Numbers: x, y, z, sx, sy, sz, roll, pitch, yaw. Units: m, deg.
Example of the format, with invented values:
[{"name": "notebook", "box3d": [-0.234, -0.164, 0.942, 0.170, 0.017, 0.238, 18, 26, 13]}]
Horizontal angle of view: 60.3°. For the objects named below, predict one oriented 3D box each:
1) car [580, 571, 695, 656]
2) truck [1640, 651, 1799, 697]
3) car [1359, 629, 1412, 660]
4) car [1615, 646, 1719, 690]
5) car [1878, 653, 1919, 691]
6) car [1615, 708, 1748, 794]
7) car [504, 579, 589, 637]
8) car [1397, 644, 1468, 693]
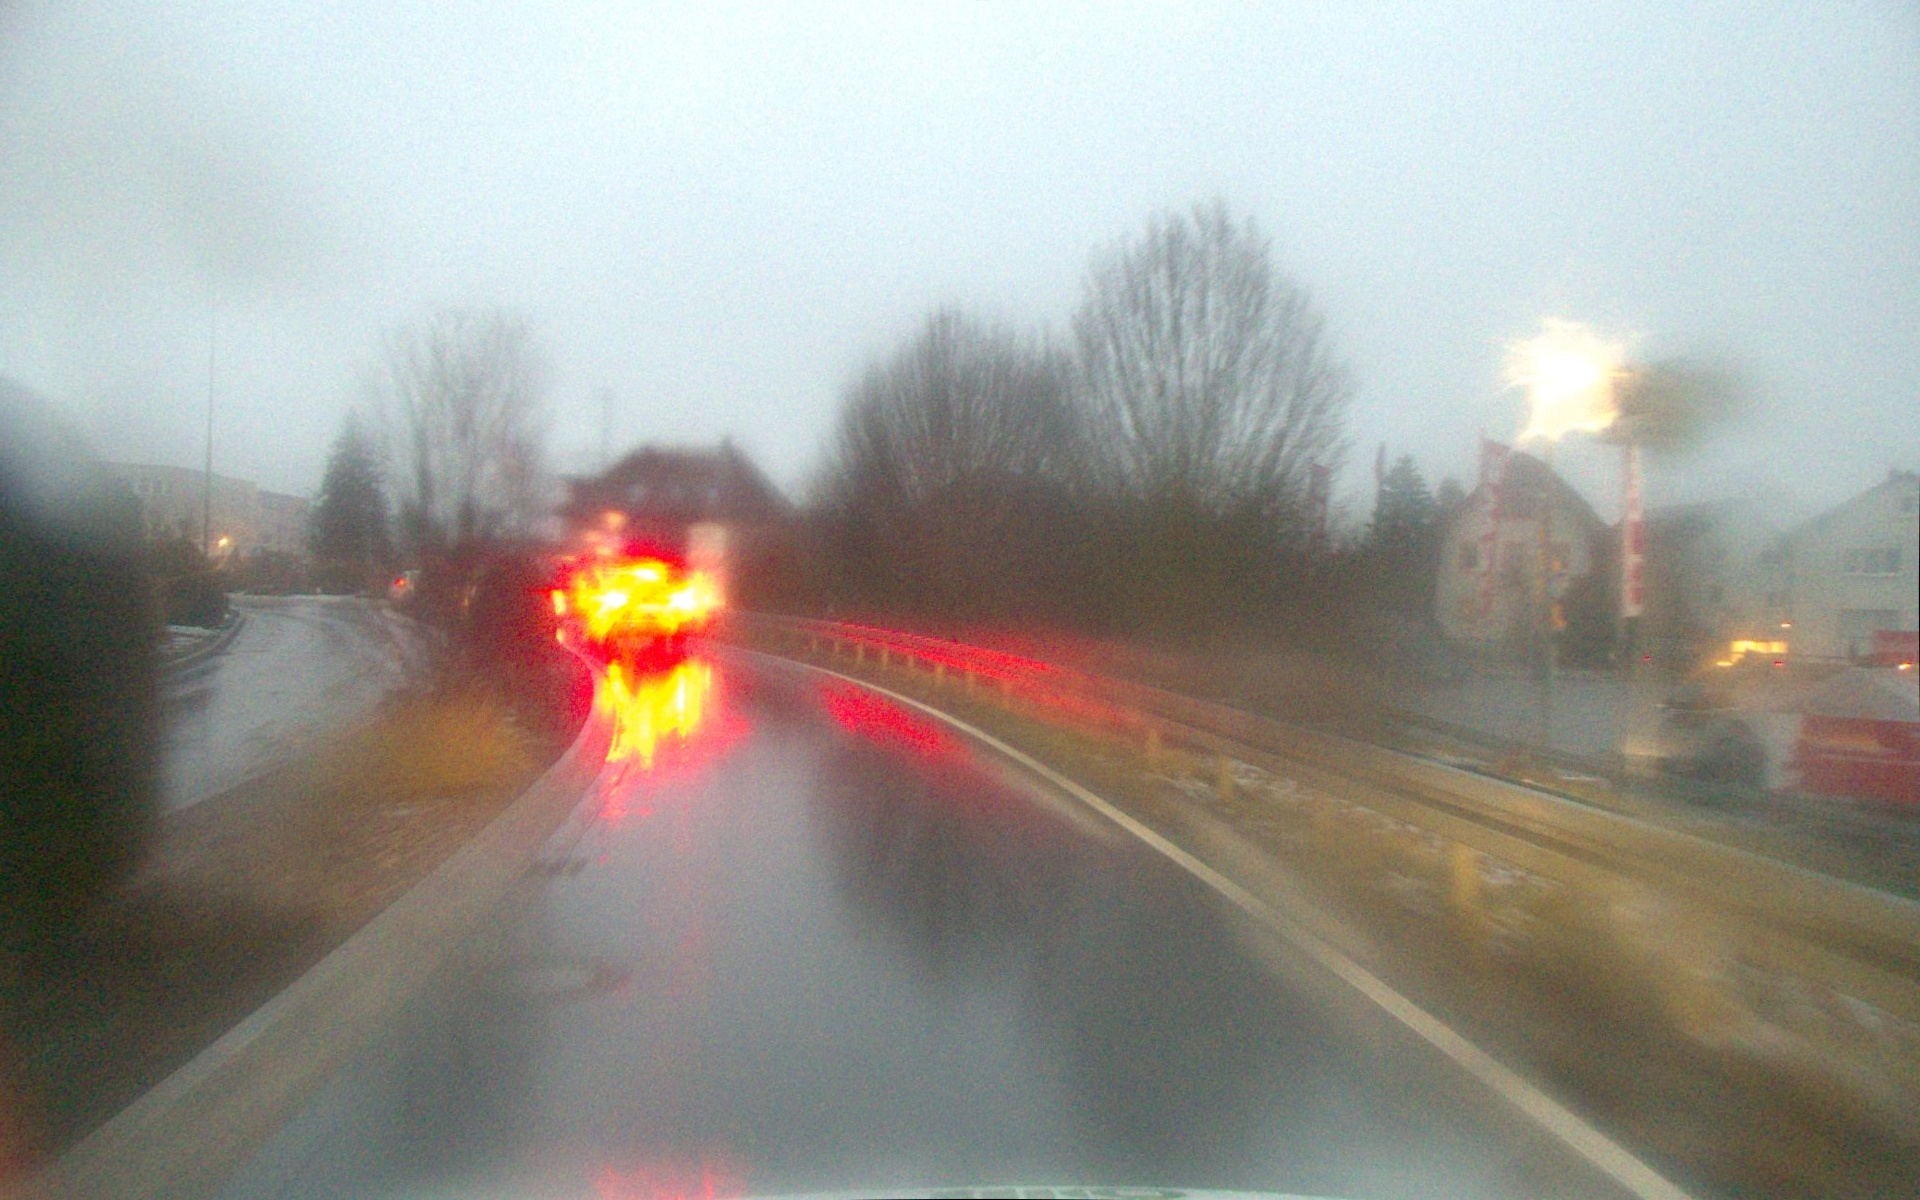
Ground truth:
[{"name": "car", "box3d": [-7.291, 0.282, 37.130, 1.916, 1.748, 3.977, 2, 0, -20]}, {"name": "truck", "box3d": [30.374, 2.926, 66.188, 5.660, 1.574, 1.940, 1, 0, 28]}, {"name": "car", "box3d": [22.566, 2.338, 87.648, 1.873, 1.512, 3.994, 0, 0, 28]}, {"name": "car", "box3d": [29.832, 2.849, 69.776, 3.911, 1.690, 1.940, 1, 0, 28]}, {"name": "car", "box3d": [40.704, 3.034, 69.158, 3.919, 1.542, 1.906, 0, -1, 35]}, {"name": "car", "box3d": [13.703, 2.818, 31.338, 1.366, 1.336, 3.189, 1, 0, 42]}, {"name": "car", "box3d": [-13.674, 0.231, 54.534, 2.133, 1.719, 4.542, 1, 1, -22]}, {"name": "car", "box3d": [17.152, 2.453, 60.211, 1.896, 1.574, 4.003, 1, 0, 7]}]
